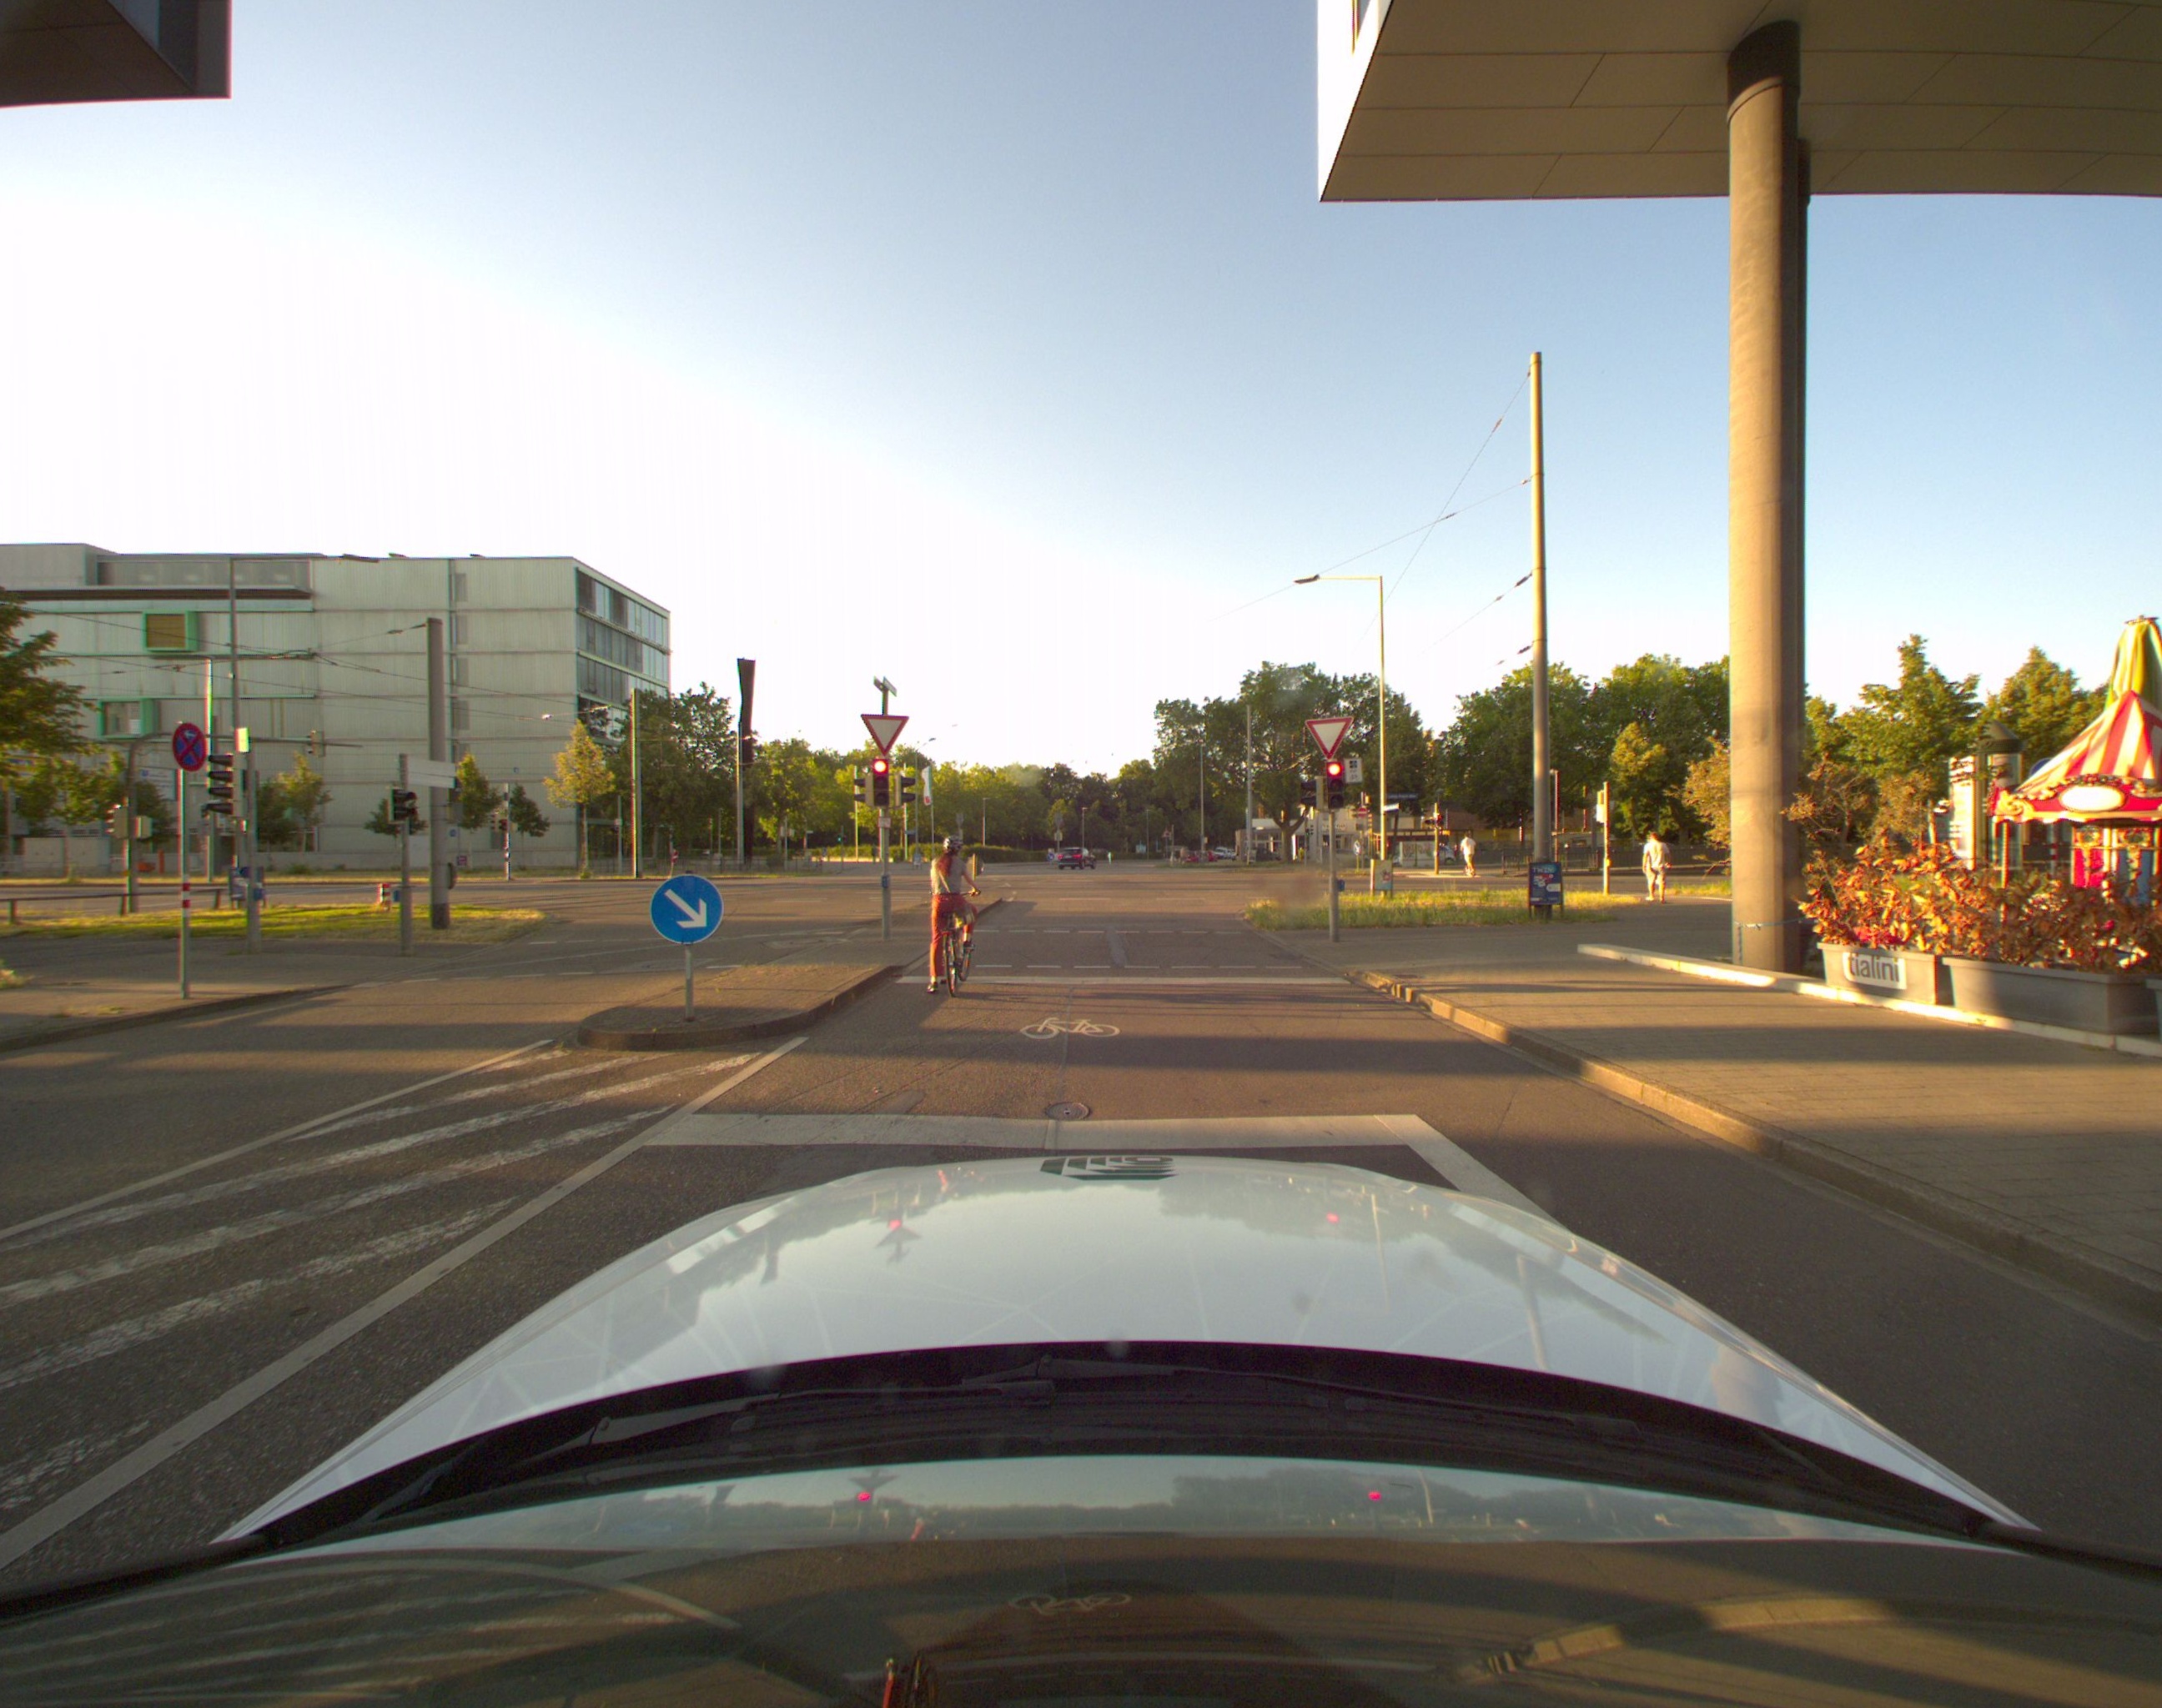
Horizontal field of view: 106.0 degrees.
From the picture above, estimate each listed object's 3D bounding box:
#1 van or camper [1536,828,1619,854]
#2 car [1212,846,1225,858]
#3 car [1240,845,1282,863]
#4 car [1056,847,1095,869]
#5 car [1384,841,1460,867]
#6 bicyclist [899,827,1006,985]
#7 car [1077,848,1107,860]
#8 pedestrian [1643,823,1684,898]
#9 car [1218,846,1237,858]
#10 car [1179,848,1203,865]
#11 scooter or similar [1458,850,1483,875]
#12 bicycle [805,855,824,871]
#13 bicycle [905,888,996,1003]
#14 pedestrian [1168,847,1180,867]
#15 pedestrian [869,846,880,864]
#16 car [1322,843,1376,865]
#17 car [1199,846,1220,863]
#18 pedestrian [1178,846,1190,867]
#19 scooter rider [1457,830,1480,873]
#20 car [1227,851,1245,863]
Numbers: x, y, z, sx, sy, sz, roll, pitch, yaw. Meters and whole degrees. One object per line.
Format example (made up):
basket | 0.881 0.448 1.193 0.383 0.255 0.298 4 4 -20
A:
van or camper | 47.936 -1.200 78.727 6.530 2.410 2.268 -1 0 6
car | 22.077 -0.331 130.875 1.982 2.013 4.010 -1 0 9
car | 19.585 0.006 88.685 4.354 1.835 1.952 -1 0 6
car | -0.371 0.335 59.579 1.742 1.541 4.418 -1 -1 15
car | 23.657 -0.022 56.521 4.523 1.728 1.860 -1 0 -3
bicyclist | -1.454 0.568 9.424 1.028 1.717 0.996 -1 0 1
car | 1.486 -0.015 109.690 3.970 1.561 2.002 -1 0 3
pedestrian | 14.344 0.159 20.069 0.754 1.791 0.807 -1 0 32
car | 24.414 -0.311 135.437 1.975 2.013 4.024 -1 0 27
car | 12.923 0.260 95.585 1.852 1.874 3.896 0 0 23
scooter or similar | 17.075 0.364 35.727 0.508 1.090 1.243 -1 0 2
bicycle | -20.727 0.682 63.402 0.697 1.136 2.392 -1 0 -1
bicycle | -1.447 0.980 9.409 0.632 1.068 2.123 -1 0 2
pedestrian | 7.788 0.272 68.179 0.712 1.639 0.903 -1 0 26
pedestrian | -19.856 0.088 78.145 0.898 1.754 0.715 -1 0 -24
car | 23.659 -0.031 72.085 4.211 1.846 2.002 -1 0 4
car | 16.254 0.085 103.126 1.899 2.047 4.020 0 0 20
pedestrian | 8.467 0.194 67.201 0.712 1.754 0.903 -1 0 26
scooter rider | 17.063 -0.107 35.868 0.699 1.855 0.669 0 -1 1
car | 21.907 0.379 115.096 1.899 1.602 4.020 0 0 20
